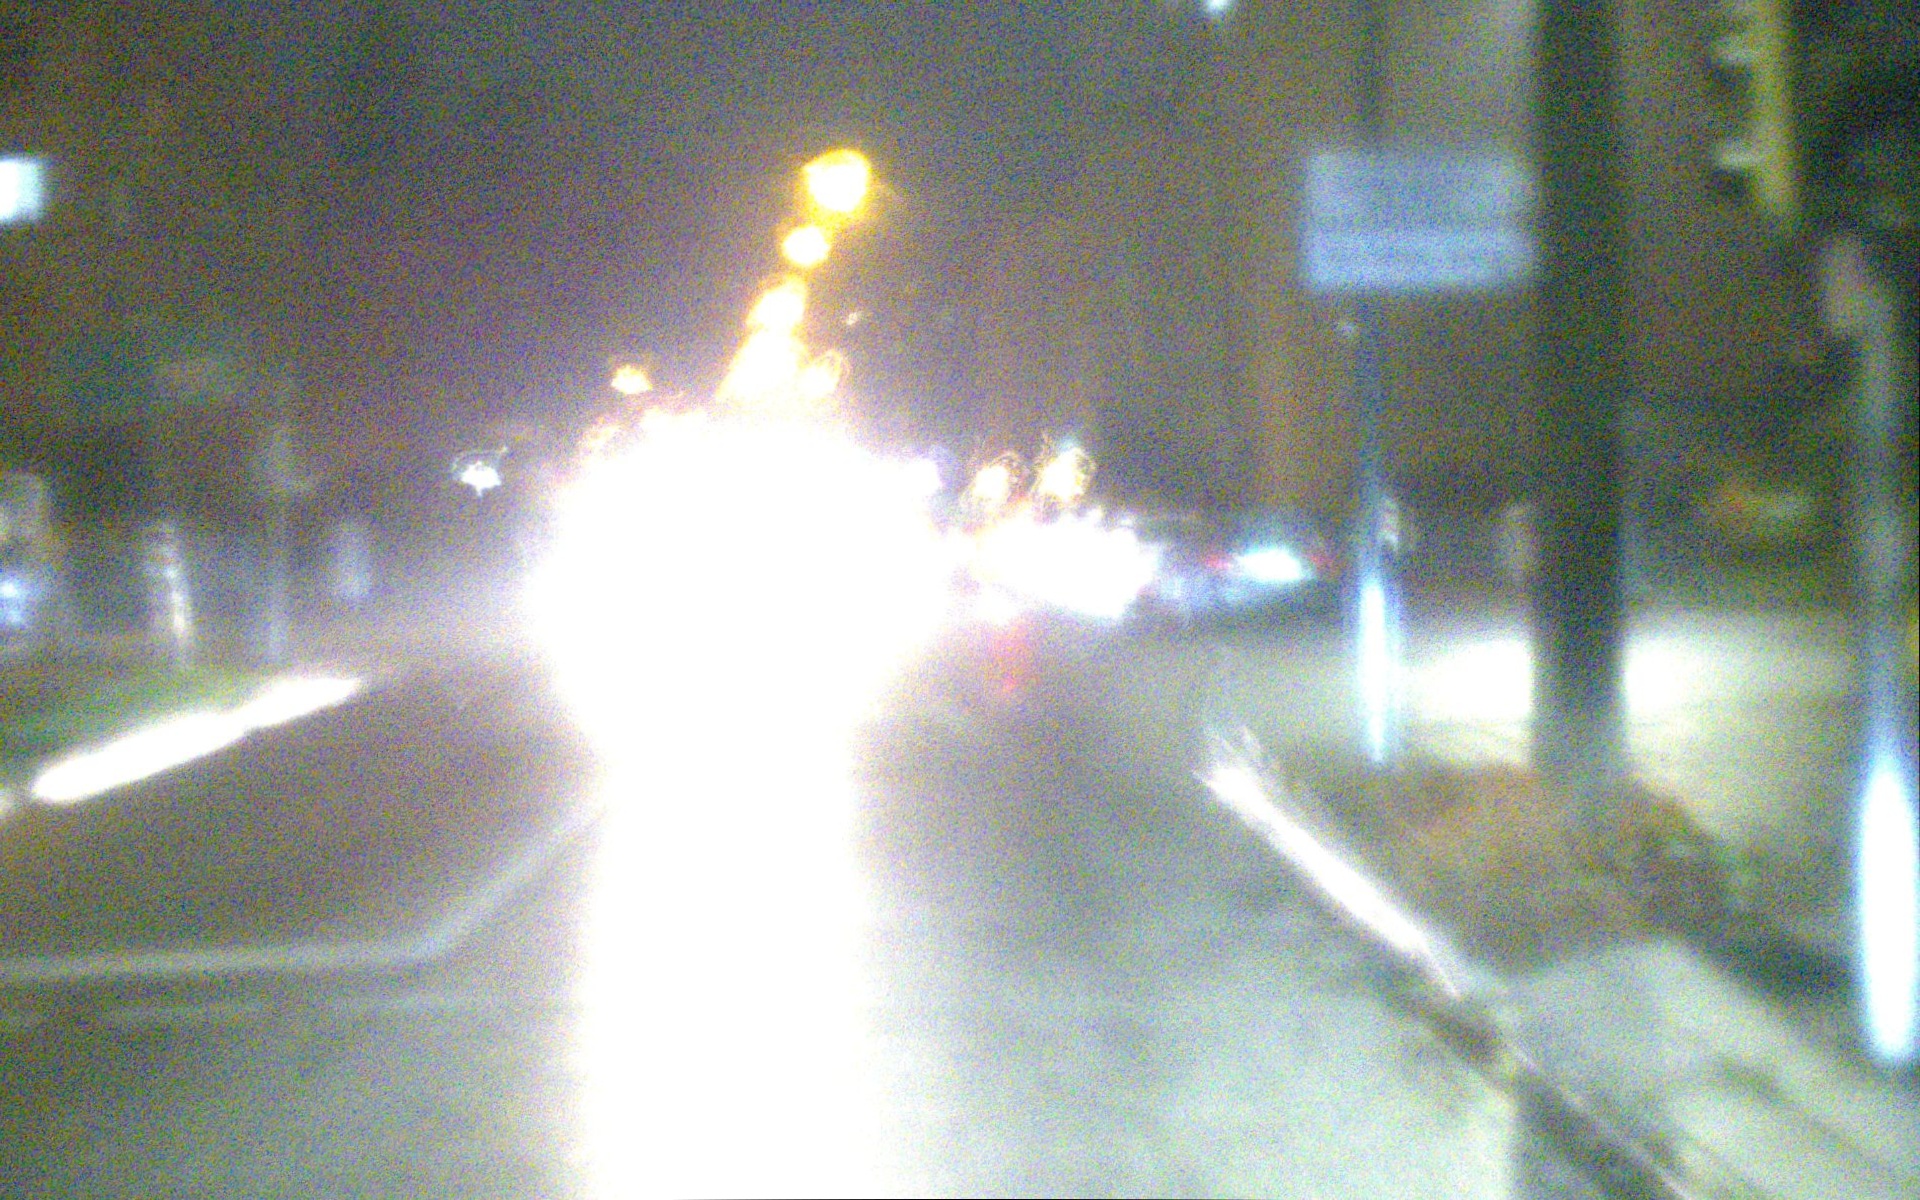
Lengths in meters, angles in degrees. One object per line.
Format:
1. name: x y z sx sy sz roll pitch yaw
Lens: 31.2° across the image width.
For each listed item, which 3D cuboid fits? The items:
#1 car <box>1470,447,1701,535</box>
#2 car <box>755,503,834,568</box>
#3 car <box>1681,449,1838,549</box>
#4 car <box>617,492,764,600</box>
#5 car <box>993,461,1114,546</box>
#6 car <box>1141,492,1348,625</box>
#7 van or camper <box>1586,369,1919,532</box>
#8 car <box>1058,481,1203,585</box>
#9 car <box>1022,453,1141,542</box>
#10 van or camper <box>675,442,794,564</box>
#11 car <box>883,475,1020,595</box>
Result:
1. car: 11.847 -2.075 65.272 3.986 1.515 1.686 -2 2 -3
2. car: -3.937 -1.553 81.783 1.796 1.456 4.579 0 2 -3
3. car: 12.506 -1.598 53.941 1.562 1.464 3.408 -2 2 -1
4. car: -3.918 -0.824 50.543 1.745 1.428 4.000 -3 2 0
5. car: 1.875 -2.016 70.569 1.880 1.567 4.529 -4 3 -5
6. car: 3.475 -0.565 42.765 1.789 1.444 4.792 -4 2 -4
7. van or camper: 13.269 -2.504 57.705 5.062 2.518 2.172 -2 2 0
8. car: 2.612 -1.059 53.735 1.713 1.483 4.437 -3 2 -4
9. car: 2.279 -1.963 65.534 1.754 1.523 4.154 -4 2 -4
10. van or camper: -4.130 -1.798 63.568 1.870 2.096 4.943 -2 2 -1
11. car: -0.173 -1.058 54.087 1.993 1.678 4.001 -1 3 -2
